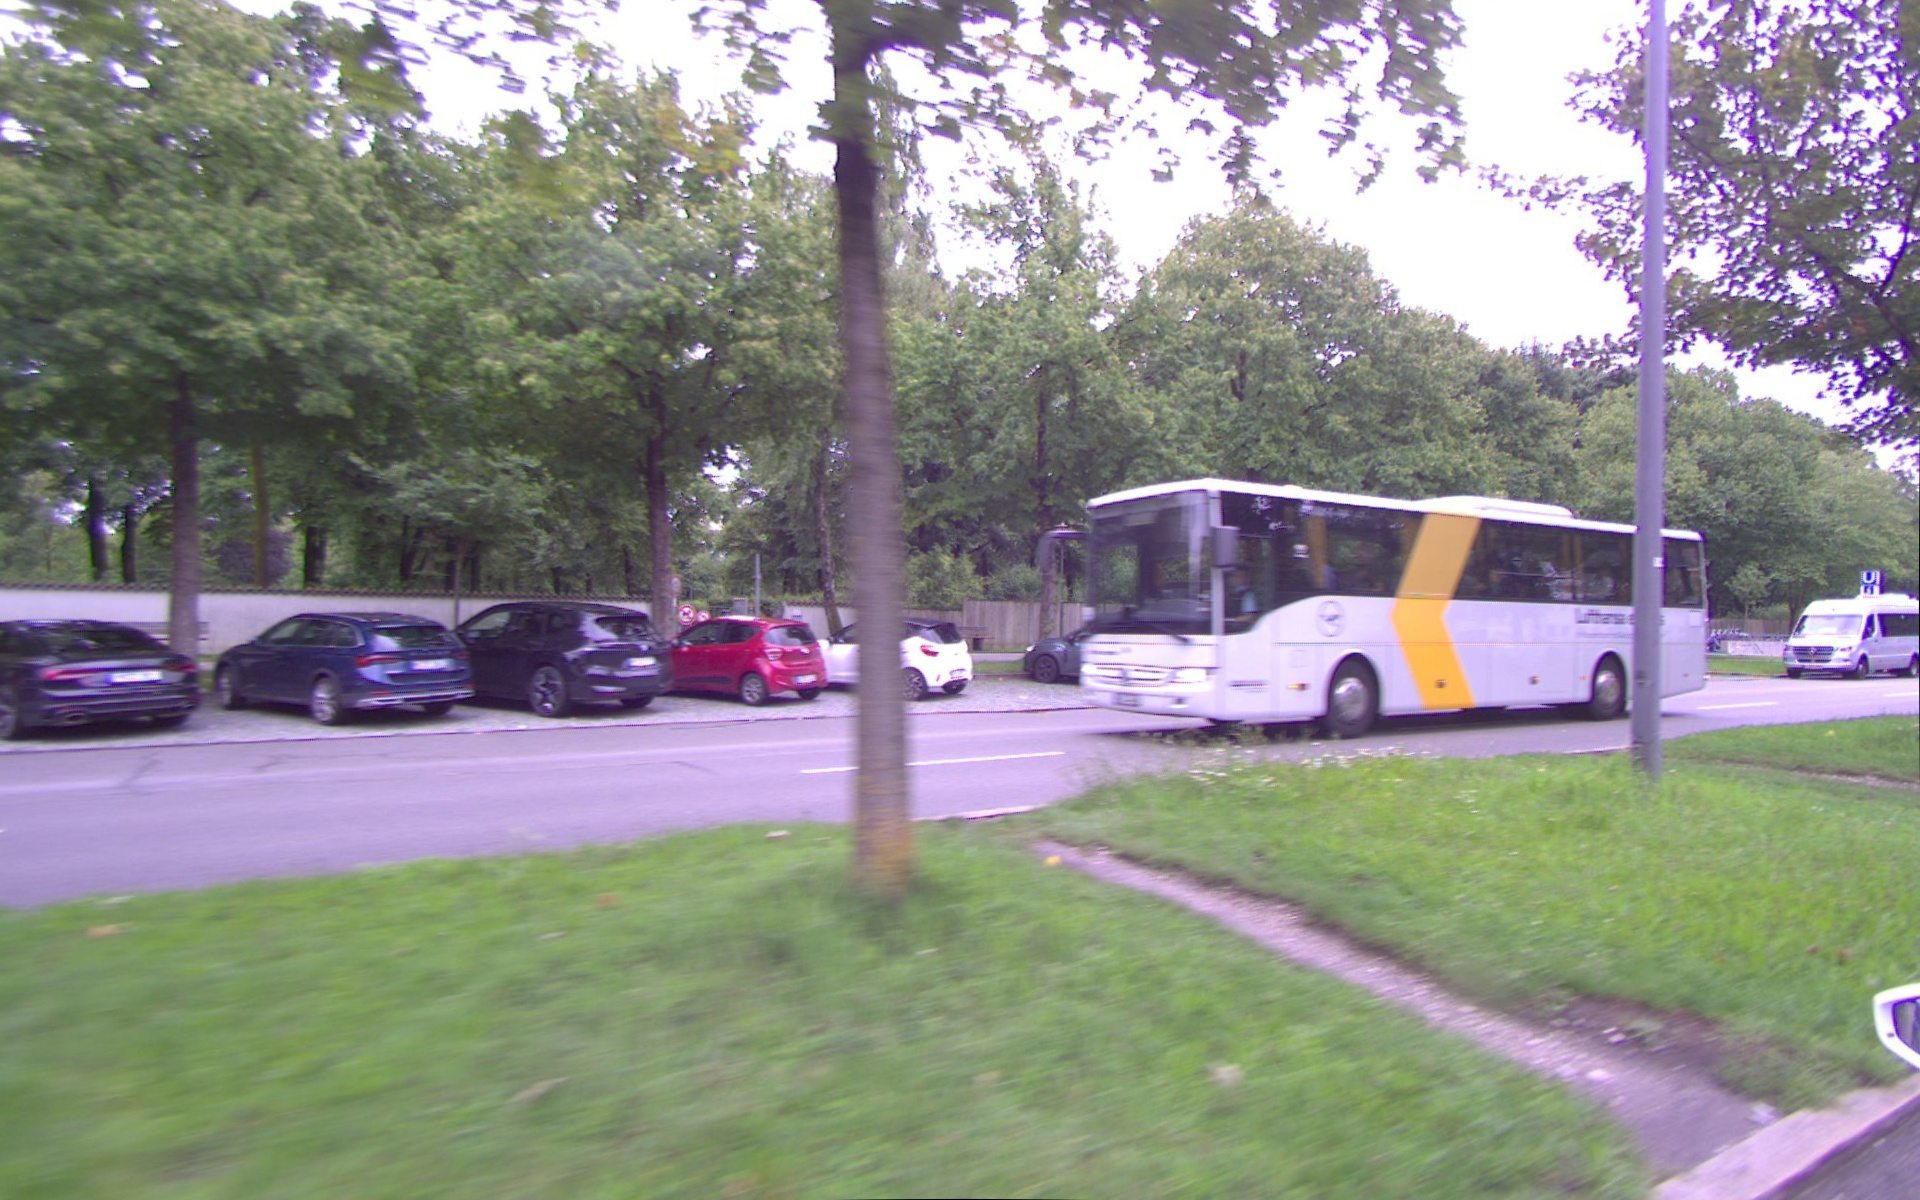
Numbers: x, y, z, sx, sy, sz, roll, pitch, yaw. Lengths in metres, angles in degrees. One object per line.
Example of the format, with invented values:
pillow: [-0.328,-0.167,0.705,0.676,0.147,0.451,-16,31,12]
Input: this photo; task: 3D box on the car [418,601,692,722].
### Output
car: [-6.540,0.902,16.207,4.032,1.702,1.917,0,-1,27]

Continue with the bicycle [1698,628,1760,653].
bicycle: [39.590,2.052,51.759,0.593,1.159,2.489,1,1,-27]

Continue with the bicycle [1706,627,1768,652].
bicycle: [40.275,2.041,52.119,0.646,1.159,2.489,1,1,-27]

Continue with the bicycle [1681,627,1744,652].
bicycle: [38.124,1.996,50.949,0.714,1.159,2.489,1,1,-27]

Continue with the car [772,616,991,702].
car: [-1.603,1.110,20.216,4.034,1.521,1.916,0,-1,30]

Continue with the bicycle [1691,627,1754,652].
bicycle: [39.002,2.014,51.401,0.698,1.159,2.489,1,1,-27]

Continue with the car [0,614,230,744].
car: [-11.727,0.915,13.095,4.121,1.428,1.917,0,-1,27]

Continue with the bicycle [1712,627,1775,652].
bicycle: [40.904,2.054,52.475,0.698,1.159,2.489,1,1,-27]

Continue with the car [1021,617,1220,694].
car: [3.672,1.212,23.092,4.113,1.563,1.916,0,-1,30]

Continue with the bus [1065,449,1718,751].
bus: [7.235,0.142,15.540,11.869,3.422,2.726,1,-2,-30]

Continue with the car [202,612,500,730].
car: [-8.970,0.948,14.780,4.032,1.489,1.917,0,-1,27]

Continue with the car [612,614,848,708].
car: [-4.269,1.054,18.561,4.034,1.521,1.916,0,-1,30]

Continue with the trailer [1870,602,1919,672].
trailer: [37.075,1.396,38.214,5.510,2.574,2.096,1,-1,-30]

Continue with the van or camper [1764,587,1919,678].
van or camper: [30.521,1.089,34.296,7.405,2.871,2.298,1,-1,-30]
